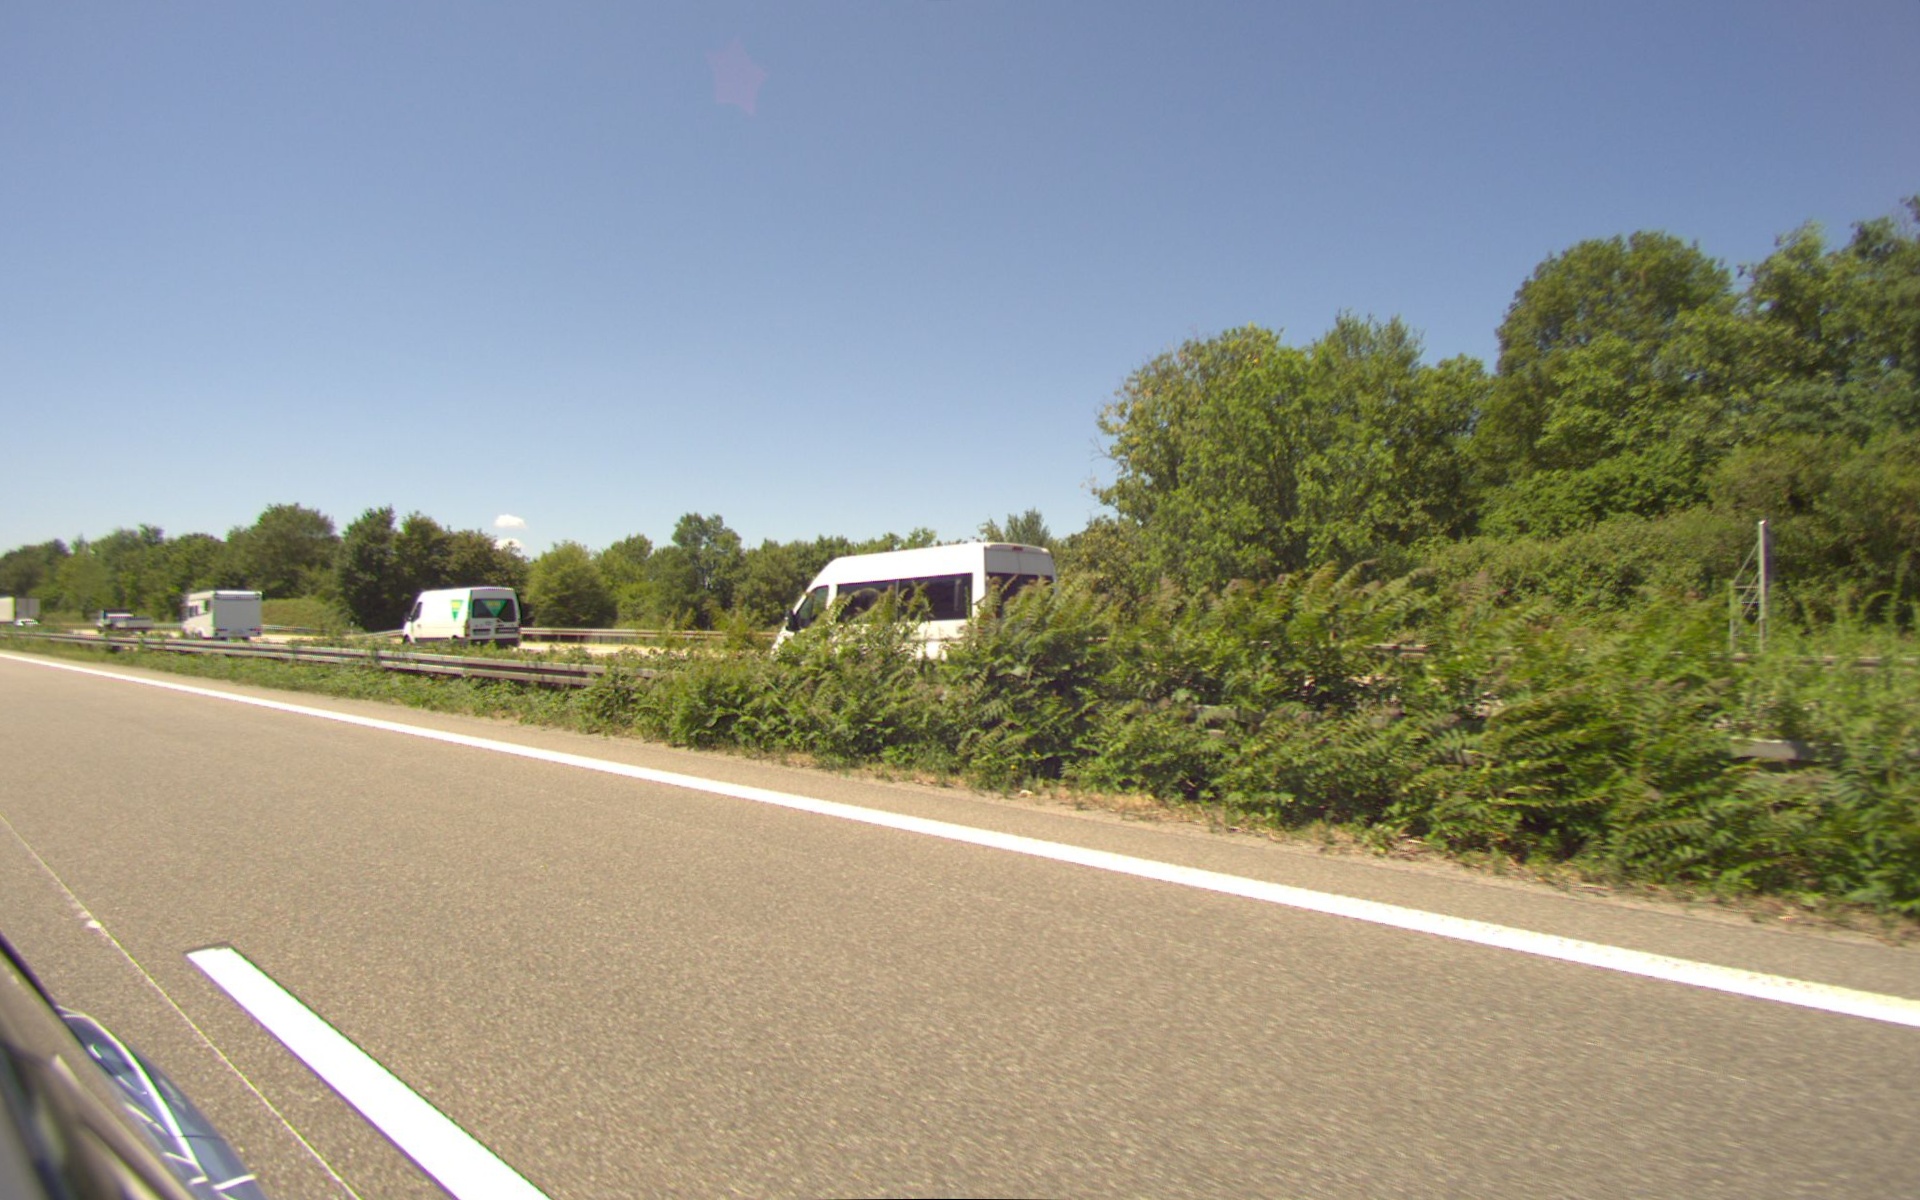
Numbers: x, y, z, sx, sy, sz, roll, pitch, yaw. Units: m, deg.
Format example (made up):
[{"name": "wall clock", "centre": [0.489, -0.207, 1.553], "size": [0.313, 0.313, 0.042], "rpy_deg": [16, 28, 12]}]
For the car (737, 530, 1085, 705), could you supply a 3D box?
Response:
[{"name": "car", "centre": [-1.033, 0.299, 16.790], "size": [6.163, 2.419, 1.972], "rpy_deg": [-1, -2, 42]}]

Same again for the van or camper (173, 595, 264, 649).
[{"name": "van or camper", "centre": [-42.087, 1.245, 57.302], "size": [8.022, 2.871, 2.487], "rpy_deg": [-1, -1, 41]}]

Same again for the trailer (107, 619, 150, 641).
[{"name": "trailer", "centre": [-71.932, 2.596, 87.521], "size": [4.986, 1.850, 2.008], "rpy_deg": [-1, -1, 40]}]

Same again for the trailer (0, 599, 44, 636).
[{"name": "trailer", "centre": [-117.670, 2.262, 126.387], "size": [13.579, 4.395, 3.277], "rpy_deg": [-1, -1, 41]}]

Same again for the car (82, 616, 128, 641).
[{"name": "car", "centre": [-78.341, 2.570, 92.661], "size": [6.537, 2.189, 2.221], "rpy_deg": [-1, -1, 41]}]

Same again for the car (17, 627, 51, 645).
[{"name": "car", "centre": [-88.672, 3.427, 96.865], "size": [5.006, 1.608, 1.794], "rpy_deg": [-1, -1, 40]}]

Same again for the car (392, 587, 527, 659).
[{"name": "car", "centre": [-18.835, 0.863, 37.914], "size": [6.415, 2.460, 2.192], "rpy_deg": [-1, -2, 41]}]
